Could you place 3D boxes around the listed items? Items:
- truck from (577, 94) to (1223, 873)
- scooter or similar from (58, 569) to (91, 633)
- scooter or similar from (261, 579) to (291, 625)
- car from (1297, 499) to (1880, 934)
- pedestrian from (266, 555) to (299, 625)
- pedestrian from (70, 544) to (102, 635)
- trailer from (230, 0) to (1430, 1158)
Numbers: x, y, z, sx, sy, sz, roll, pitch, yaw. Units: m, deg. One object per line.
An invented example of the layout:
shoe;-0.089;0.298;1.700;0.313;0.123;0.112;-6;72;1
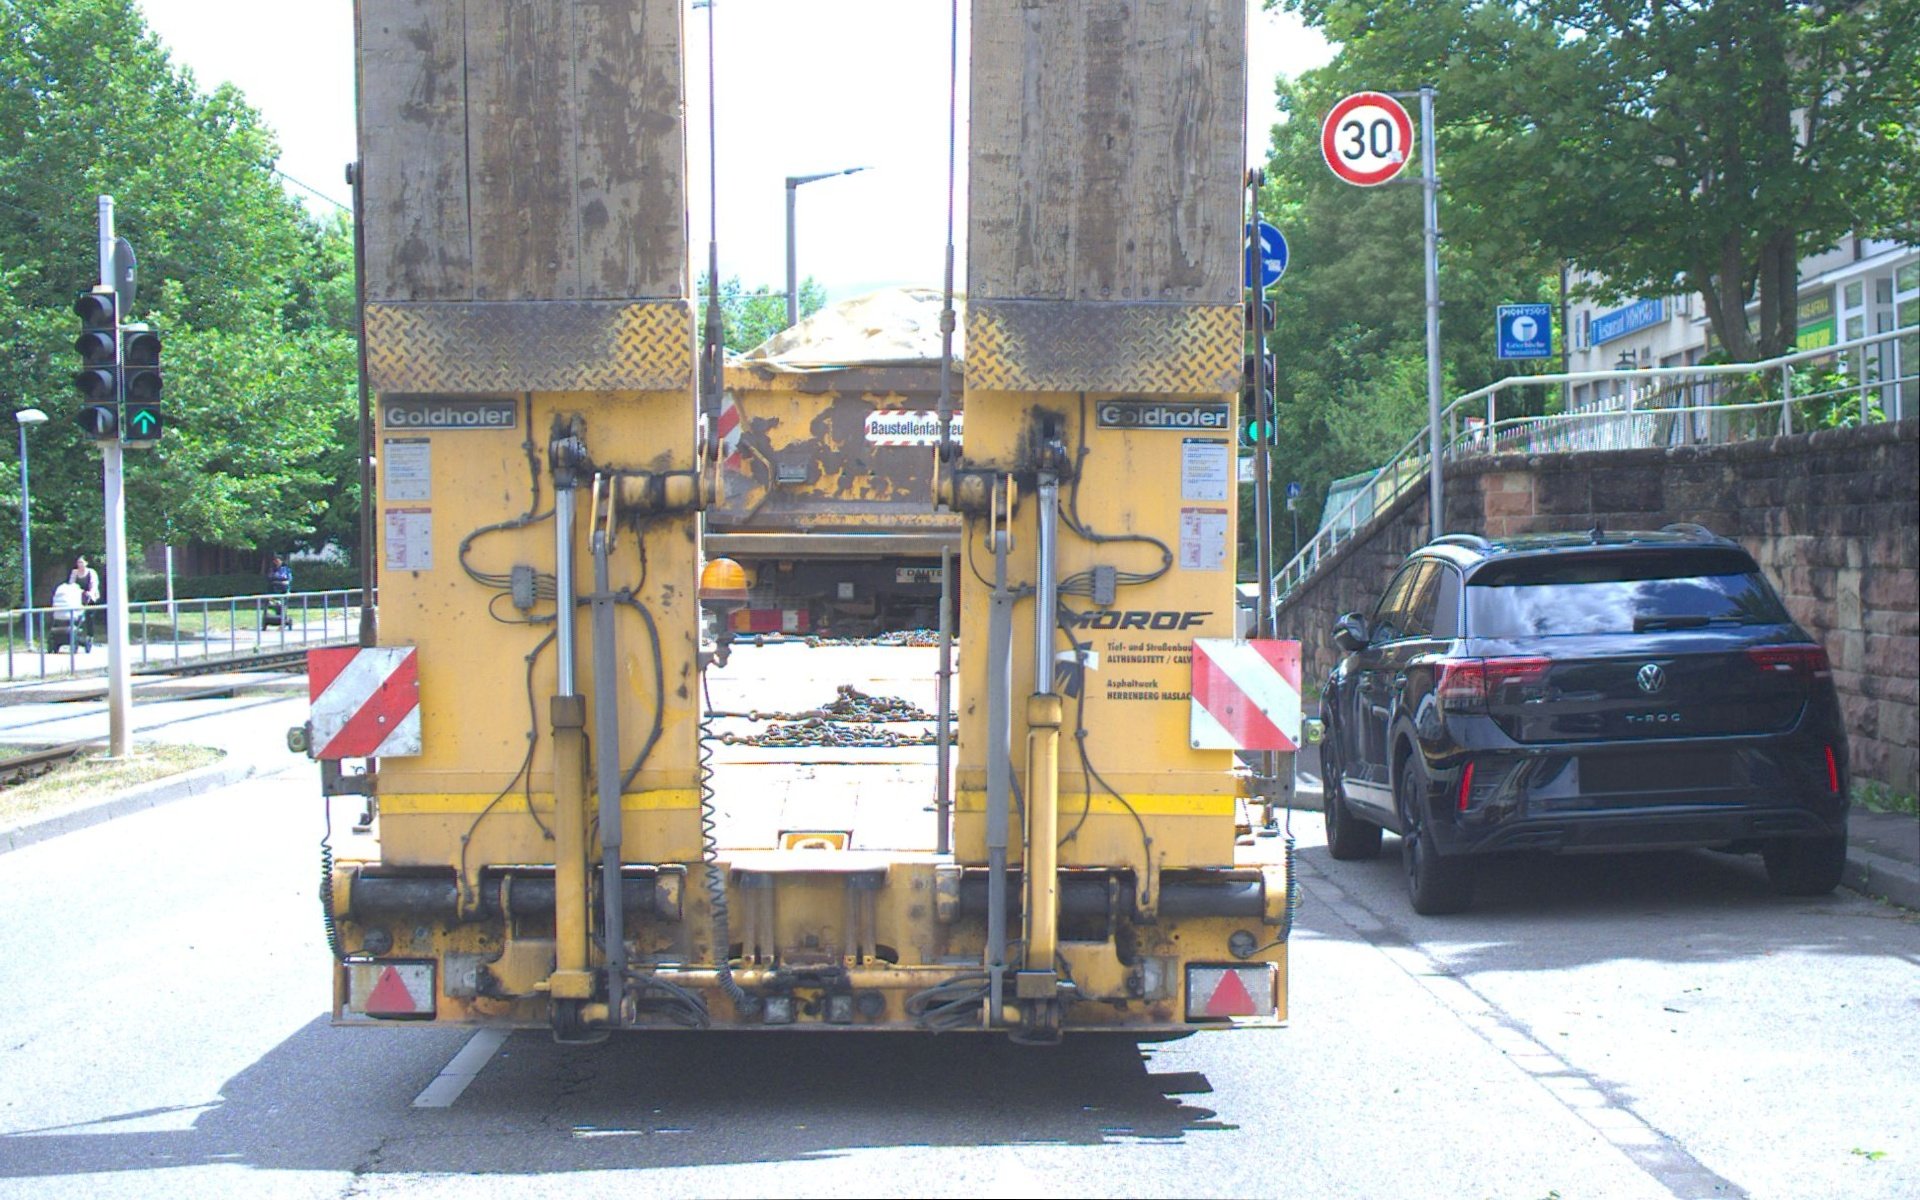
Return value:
truck;-0.264;-0.574;18.313;2.942;3.560;4.877;-1;1;0
scooter or similar;-14.800;0.017;57.464;0.338;1.054;0.687;-1;1;3
scooter or similar;-14.786;0.044;74.306;0.505;0.968;0.646;1;1;-1
car;2.656;0.428;15.457;1.851;1.633;4.000;-2;1;0
pedestrian;-14.770;-0.227;74.955;0.563;1.508;0.646;1;1;-1
pedestrian;-14.764;-0.185;58.095;0.348;1.531;0.557;-1;1;3
trailer;-0.301;-0.489;12.870;2.945;3.589;8.684;-1;1;0
